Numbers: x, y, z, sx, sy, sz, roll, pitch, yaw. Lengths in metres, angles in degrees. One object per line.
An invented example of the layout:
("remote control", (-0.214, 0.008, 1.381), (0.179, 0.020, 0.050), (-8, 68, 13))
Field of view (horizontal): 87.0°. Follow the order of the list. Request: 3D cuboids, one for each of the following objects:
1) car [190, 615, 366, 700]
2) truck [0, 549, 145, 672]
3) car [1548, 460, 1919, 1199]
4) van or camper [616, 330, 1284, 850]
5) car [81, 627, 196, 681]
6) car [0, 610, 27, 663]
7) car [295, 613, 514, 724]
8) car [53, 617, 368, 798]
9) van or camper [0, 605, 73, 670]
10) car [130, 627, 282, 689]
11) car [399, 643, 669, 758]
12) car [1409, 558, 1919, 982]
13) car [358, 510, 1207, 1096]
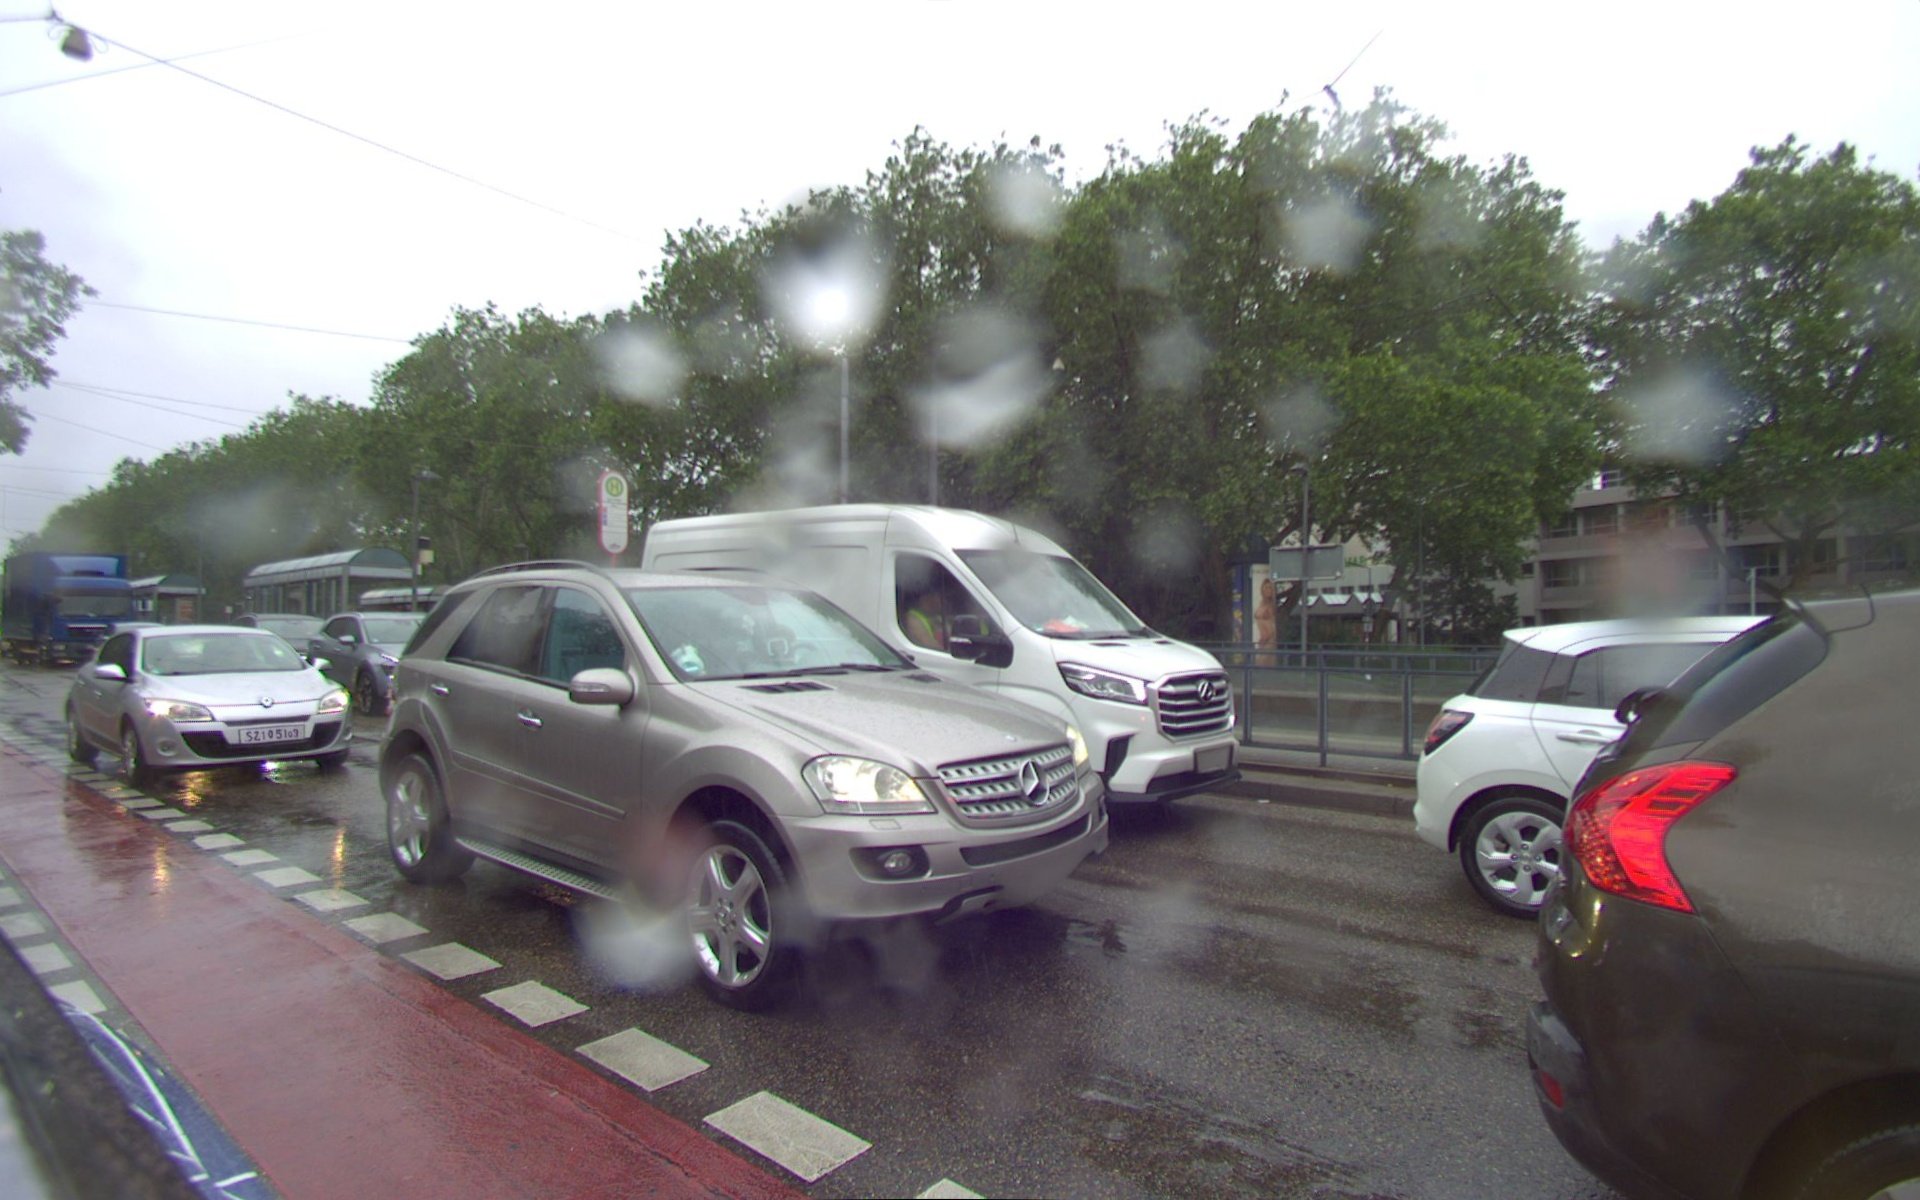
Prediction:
("car", (-14.649, 1.171, 21.675), (4.316, 1.633, 1.974), (-1, -2, 40))
("truck", (-32.168, 0.456, 36.321), (9.803, 3.919, 2.513), (-1, -3, 40))
("car", (3.285, 0.599, 1.232), (4.170, 1.681, 1.815), (-1, -1, 41))
("van or camper", (-0.424, -0.001, 8.854), (5.846, 3.166, 2.136), (-1, -2, 40))
("car", (-24.486, 1.551, 30.123), (4.074, 1.498, 1.871), (-1, -2, 40))
("car", (-46.775, 1.752, 48.952), (5.727, 2.445, 1.972), (-1, 0, 43))
("car", (-9.459, 1.063, 17.074), (4.454, 1.636, 1.894), (-1, -2, 43))
("car", (-7.814, 0.942, 10.421), (3.998, 1.489, 1.750), (-1, -1, 40))
("van or camper", (-40.043, 1.575, 43.543), (6.427, 2.590, 1.973), (-1, 0, 41))
("car", (-18.831, 1.389, 25.200), (4.602, 1.405, 1.973), (-1, -3, 40))
("car", (-5.450, 1.156, 12.707), (4.084, 1.126, 1.448), (-1, -1, 40))
("car", (4.275, 0.674, 4.539), (3.834, 1.641, 1.628), (-1, -2, 41))
("car", (-1.216, 0.651, 5.305), (4.459, 1.783, 2.004), (-1, -1, 40))
